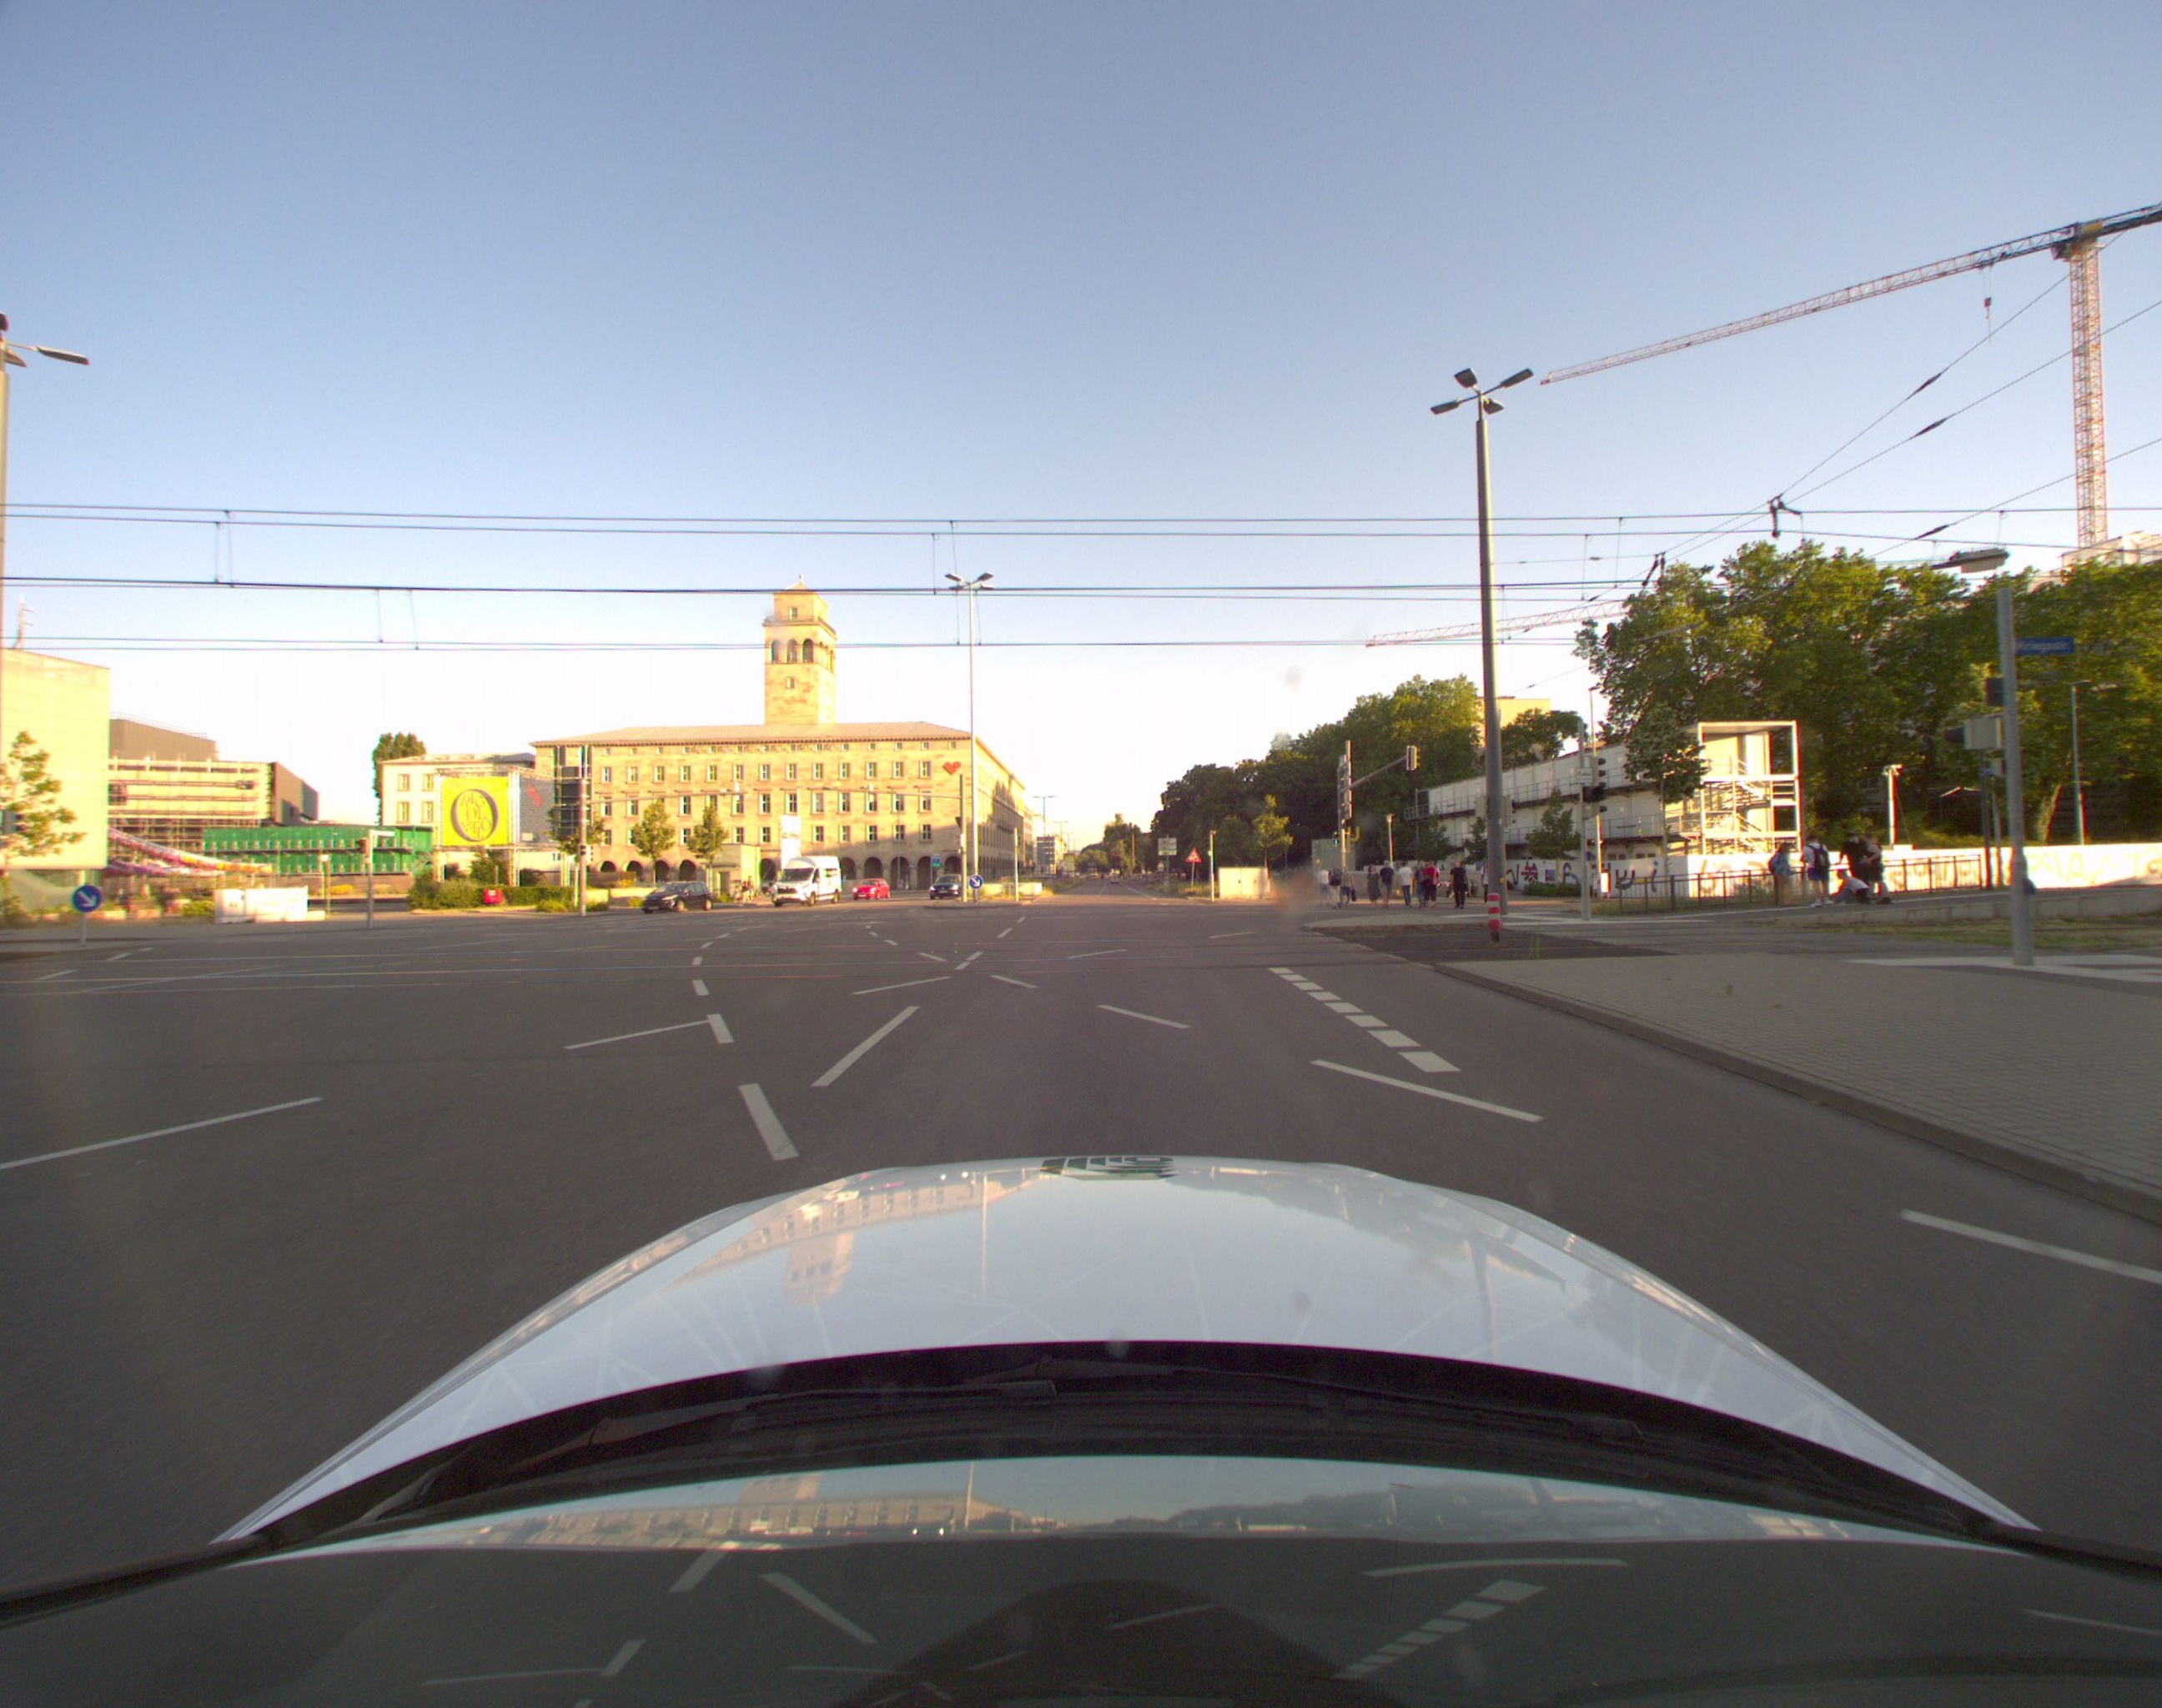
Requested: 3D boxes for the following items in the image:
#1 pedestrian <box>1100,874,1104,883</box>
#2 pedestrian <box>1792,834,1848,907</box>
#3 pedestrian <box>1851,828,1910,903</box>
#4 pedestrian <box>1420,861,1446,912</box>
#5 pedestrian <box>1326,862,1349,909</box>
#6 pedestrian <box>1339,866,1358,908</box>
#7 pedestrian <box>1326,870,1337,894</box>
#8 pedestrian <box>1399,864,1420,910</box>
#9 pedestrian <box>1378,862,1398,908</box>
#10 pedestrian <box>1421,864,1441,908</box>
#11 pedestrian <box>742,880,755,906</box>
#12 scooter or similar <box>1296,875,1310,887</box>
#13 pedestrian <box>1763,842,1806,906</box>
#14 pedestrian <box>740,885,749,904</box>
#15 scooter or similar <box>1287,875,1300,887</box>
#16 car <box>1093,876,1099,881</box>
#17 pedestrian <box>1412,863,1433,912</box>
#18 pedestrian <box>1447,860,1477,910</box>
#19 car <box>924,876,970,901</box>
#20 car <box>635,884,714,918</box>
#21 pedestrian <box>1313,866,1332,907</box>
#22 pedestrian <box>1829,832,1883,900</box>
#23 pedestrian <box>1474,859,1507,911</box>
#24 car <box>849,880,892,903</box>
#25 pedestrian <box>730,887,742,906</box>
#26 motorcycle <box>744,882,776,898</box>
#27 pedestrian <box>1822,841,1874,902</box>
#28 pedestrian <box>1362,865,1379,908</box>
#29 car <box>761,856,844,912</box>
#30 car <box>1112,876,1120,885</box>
[{"bbox_3d":[4.400,5.133,170.239,0.904,1.671,1.306,-1,-1,0],"label":"pedestrian"},{"bbox_3d":[17.721,0.398,19.545,0.706,1.725,0.671,-1,-1,13],"label":"pedestrian"},{"bbox_3d":[18.826,0.282,19.194,0.706,1.725,0.670,-1,-1,12],"label":"pedestrian"},{"bbox_3d":[12.397,1.135,28.704,0.697,1.734,0.851,-1,-1,17],"label":"pedestrian"},{"bbox_3d":[9.631,1.187,30.629,0.706,1.725,0.918,-1,-1,12],"label":"pedestrian"},{"bbox_3d":[11.181,1.362,34.069,0.705,1.725,0.671,-1,-1,18],"label":"pedestrian"},{"bbox_3d":[19.357,2.189,62.962,0.663,1.842,0.714,-1,-1,6],"label":"pedestrian"},{"bbox_3d":[12.591,1.240,31.214,0.705,1.725,0.919,-1,-1,21],"label":"pedestrian"},{"bbox_3d":[11.895,1.177,31.512,0.673,1.758,0.907,-1,-1,22],"label":"pedestrian"},{"bbox_3d":[13.367,1.219,31.116,0.568,1.679,0.641,-1,-1,15],"label":"pedestrian"},{"bbox_3d":[-22.663,2.668,55.511,0.620,1.744,0.459,1,-2,-4],"label":"pedestrian"},{"bbox_3d":[22.494,2.702,82.571,0.567,1.203,2.983,-1,-1,0],"label":"scooter or similar"},{"bbox_3d":[17.847,0.514,20.659,0.569,1.592,0.536,-1,-1,1],"label":"pedestrian"},{"bbox_3d":[-22.564,2.729,54.641,0.420,1.301,0.459,1,-2,-4],"label":"pedestrian"},{"bbox_3d":[21.468,2.692,82.379,0.567,1.203,2.983,-1,-1,0],"label":"scooter or similar"},{"bbox_3d":[3.846,6.276,210.877,1.364,1.234,3.047,-1,-1,3],"label":"car"},{"bbox_3d":[12.611,1.218,30.079,0.568,1.791,0.641,-1,-1,15],"label":"pedestrian"},{"bbox_3d":[13.726,1.103,29.388,0.799,1.791,0.803,-1,-1,13],"label":"pedestrian"},{"bbox_3d":[-7.927,2.045,48.543,1.815,1.342,4.003,-1,-1,3],"label":"car"},{"bbox_3d":[-20.027,2.283,40.334,1.817,1.466,4.157,-1,-1,0],"label":"car"},{"bbox_3d":[10.145,1.360,34.215,0.705,1.725,0.671,-1,-1,17],"label":"pedestrian"},{"bbox_3d":[20.182,0.305,21.212,0.709,1.725,0.668,-1,-1,-2],"label":"pedestrian"},{"bbox_3d":[14.594,1.096,29.057,0.800,1.791,0.802,-1,-1,9],"label":"pedestrian"},{"bbox_3d":[-14.552,2.578,56.603,1.731,1.487,4.003,-1,-1,3],"label":"car"},{"bbox_3d":[-23.366,2.867,55.192,0.505,1.301,0.700,1,-2,-4],"label":"pedestrian"},{"bbox_3d":[-26.705,2.983,67.806,2.306,1.196,0.824,-1,-1,-6],"label":"motorcycle"},{"bbox_3d":[18.792,0.430,19.969,0.670,1.441,0.718,-2,-2,23],"label":"pedestrian"},{"bbox_3d":[11.305,1.249,31.770,0.555,1.655,0.907,-1,-1,22],"label":"pedestrian"},{"bbox_3d":[-15.051,1.582,44.505,2.270,2.776,6.085,-1,-1,2],"label":"car"},{"bbox_3d":[6.374,4.833,148.686,1.477,1.696,2.975,-1,-1,2],"label":"car"}]
